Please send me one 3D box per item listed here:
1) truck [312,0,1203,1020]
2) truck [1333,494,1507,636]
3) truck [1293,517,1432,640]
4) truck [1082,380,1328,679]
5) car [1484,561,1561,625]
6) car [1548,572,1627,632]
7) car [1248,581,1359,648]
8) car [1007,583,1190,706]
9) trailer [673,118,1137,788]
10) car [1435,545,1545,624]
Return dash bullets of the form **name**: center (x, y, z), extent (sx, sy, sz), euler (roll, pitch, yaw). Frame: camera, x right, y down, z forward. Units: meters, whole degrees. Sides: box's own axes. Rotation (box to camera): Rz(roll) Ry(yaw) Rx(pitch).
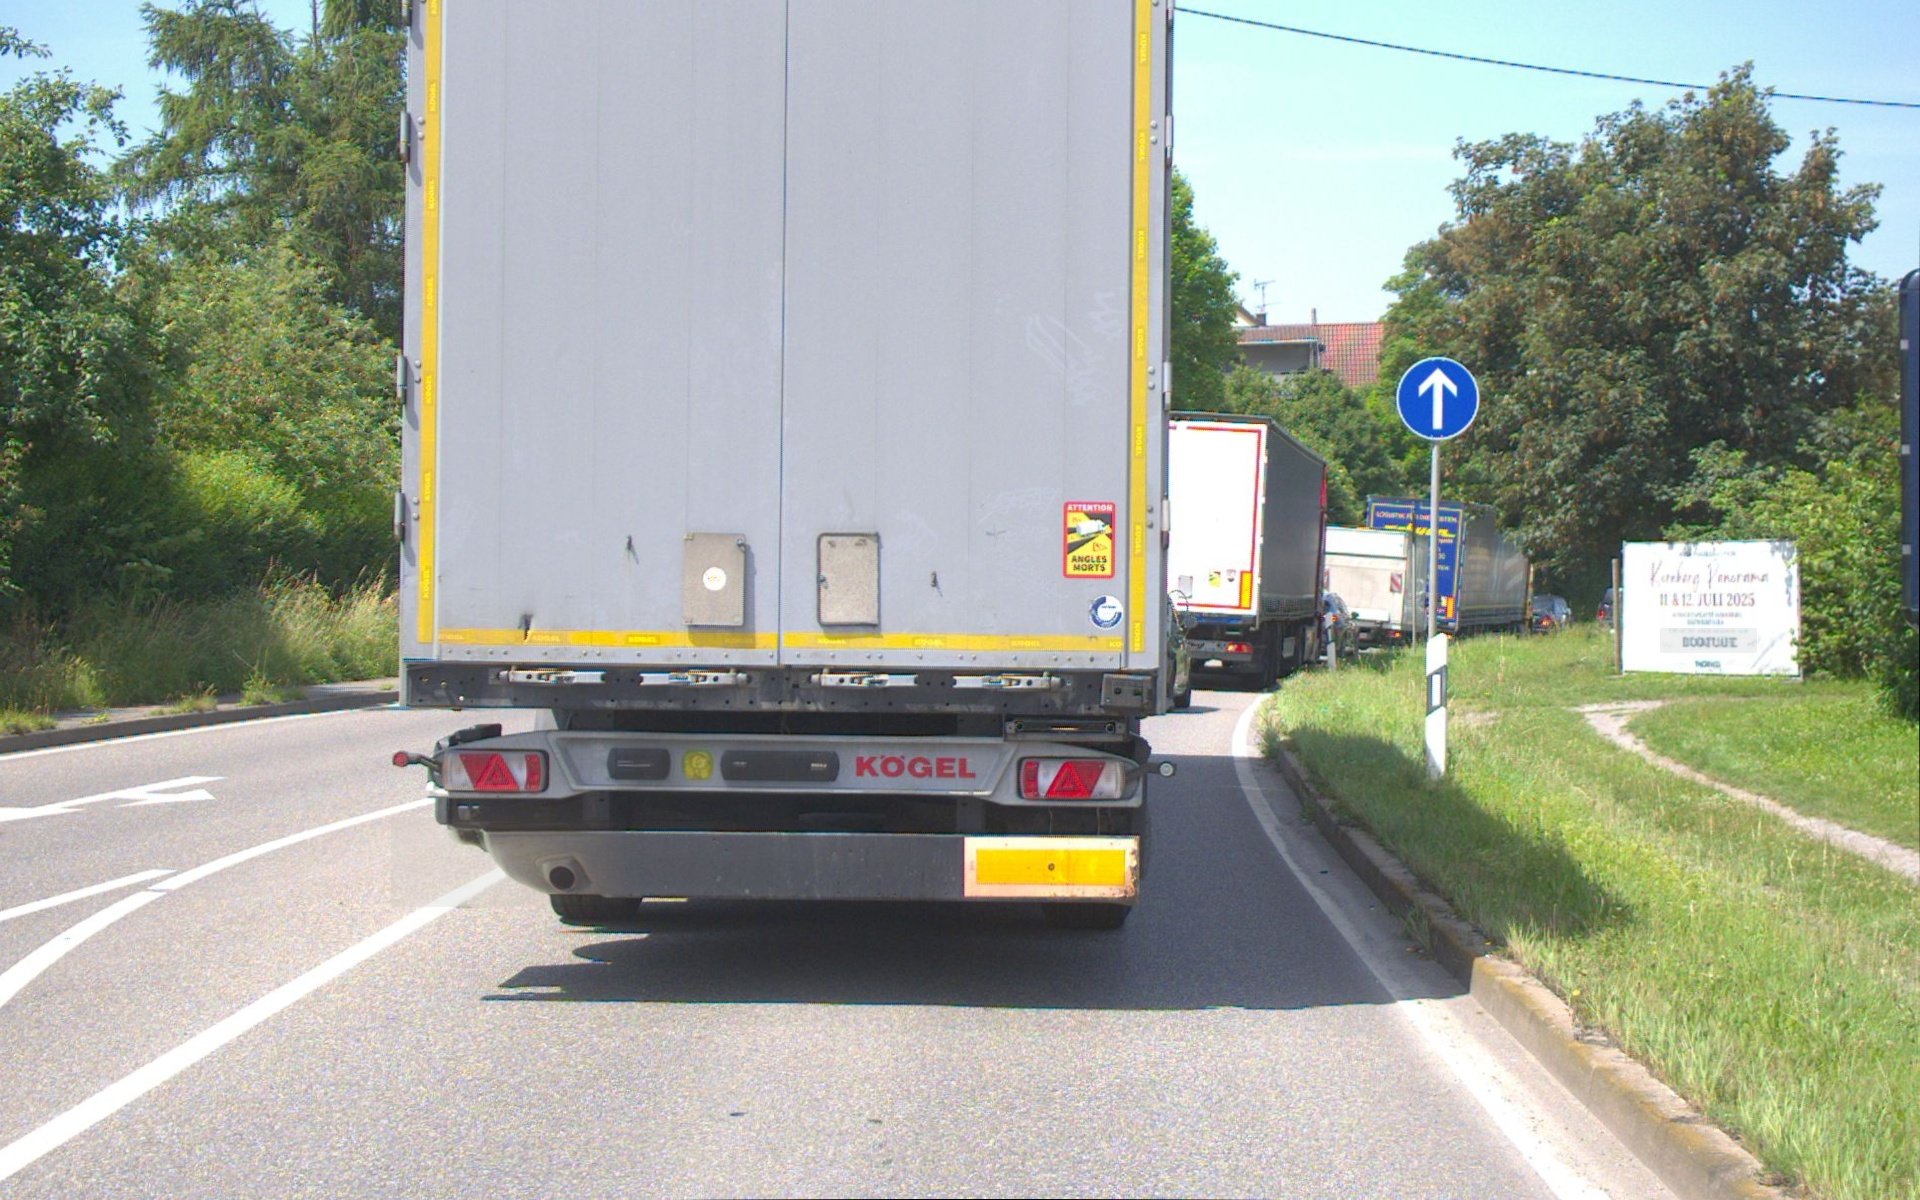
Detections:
- **truck**: center (-0.471, -0.835, 16.745), extent (2.822, 4.113, 11.443), euler (1, 1, 2)
- **truck**: center (12.470, -0.986, 92.456), extent (3.435, 3.592, 9.347), euler (1, 1, 15)
- **truck**: center (9.696, -0.491, 82.381), extent (2.545, 2.793, 6.028), euler (1, 0, 14)
- **truck**: center (4.394, -1.012, 57.631), extent (2.761, 4.274, 16.409), euler (1, 0, 9)
- **car**: center (17.987, -0.215, 109.890), extent (1.995, 2.007, 3.997), euler (1, 0, 15)
- **car**: center (21.683, 0.060, 118.652), extent (1.995, 2.007, 3.996), euler (1, 0, 20)
- **car**: center (7.459, 0.307, 74.368), extent (1.994, 1.371, 3.998), euler (1, 0, 11)
- **car**: center (1.673, 0.497, 40.426), extent (1.819, 1.342, 3.846), euler (1, 0, 7)
- **trailer**: center (-0.216, -0.962, 24.401), extent (2.825, 4.097, 6.544), euler (0, 1, 2)
- **car**: center (16.007, -0.487, 103.593), extent (2.533, 2.269, 6.376), euler (1, 1, 15)
